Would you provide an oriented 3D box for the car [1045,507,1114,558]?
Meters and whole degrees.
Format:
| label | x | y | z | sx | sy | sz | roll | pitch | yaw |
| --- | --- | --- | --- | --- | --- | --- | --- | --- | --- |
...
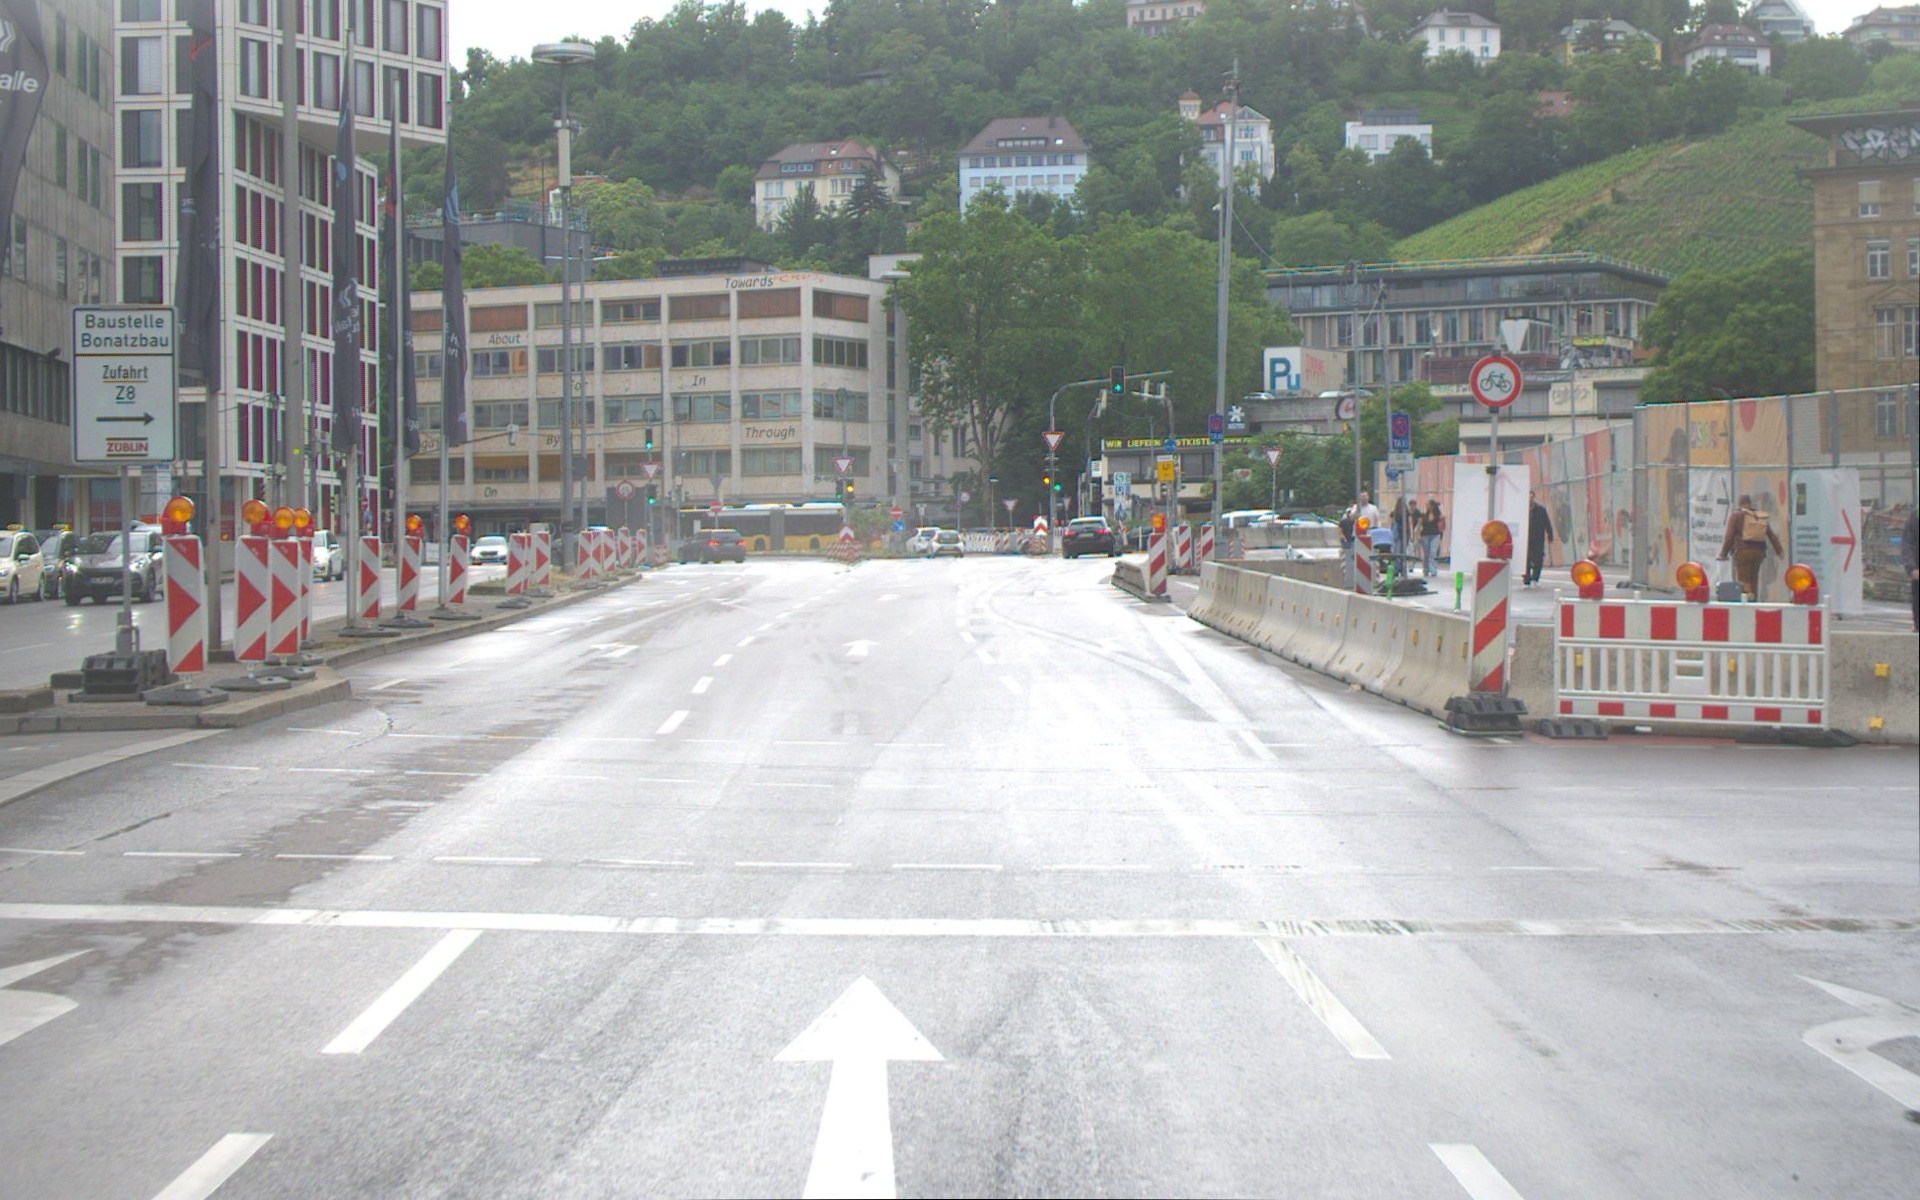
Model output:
| label | x | y | z | sx | sy | sz | roll | pitch | yaw |
| --- | --- | --- | --- | --- | --- | --- | --- | --- | --- |
| car | 4.099 | -2.315 | 118.413 | 1.993 | 1.700 | 4.001 | -1 | 1 | -3 |

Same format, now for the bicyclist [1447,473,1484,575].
| label | x | y | z | sx | sy | sz | roll | pitch | yaw |
| --- | --- | --- | --- | --- | --- | --- | --- | --- | --- |
| bicyclist | 10.050 | -1.514 | 68.381 | 0.642 | 2.007 | 0.656 | -1 | 1 | 2 |

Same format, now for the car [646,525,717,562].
| label | x | y | z | sx | sy | sz | roll | pitch | yaw |
| --- | --- | --- | --- | --- | --- | --- | --- | --- | --- |
| car | -13.709 | -2.791 | 169.039 | 1.776 | 1.633 | 4.000 | -5 | 2 | -31 |

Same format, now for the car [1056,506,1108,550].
| label | x | y | z | sx | sy | sz | roll | pitch | yaw |
| --- | --- | --- | --- | --- | --- | --- | --- | --- | --- |
| car | 4.686 | -2.800 | 132.619 | 1.776 | 1.633 | 4.001 | -1 | 2 | -1 |

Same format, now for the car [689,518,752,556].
| label | x | y | z | sx | sy | sz | roll | pitch | yaw |
| --- | --- | --- | --- | --- | --- | --- | --- | --- | --- |
| car | -10.030 | -2.631 | 143.833 | 1.993 | 1.546 | 4.001 | -1 | 1 | -13 |

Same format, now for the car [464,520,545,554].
| label | x | y | z | sx | sy | sz | roll | pitch | yaw |
| --- | --- | --- | --- | --- | --- | --- | --- | --- | --- |
| car | -23.131 | -3.208 | 174.662 | 1.997 | 1.590 | 3.994 | -1 | 2 | 31 |

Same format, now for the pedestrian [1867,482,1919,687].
| label | x | y | z | sx | sy | sz | roll | pitch | yaw |
| --- | --- | --- | --- | --- | --- | --- | --- | --- | --- |
| pedestrian | 8.849 | -0.151 | 31.265 | 0.948 | 1.835 | 0.945 | 0 | 1 | 28 |

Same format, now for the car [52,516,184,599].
| label | x | y | z | sx | sy | sz | roll | pitch | yaw |
| --- | --- | --- | --- | --- | --- | --- | --- | --- | --- |
| car | -18.480 | -0.956 | 75.574 | 1.993 | 1.744 | 4.001 | -1 | 1 | -2 |

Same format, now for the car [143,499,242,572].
| label | x | y | z | sx | sy | sz | roll | pitch | yaw |
| --- | --- | --- | --- | --- | --- | --- | --- | --- | --- |
| car | -21.958 | -1.858 | 98.498 | 1.993 | 2.007 | 4.001 | -1 | 1 | -2 |

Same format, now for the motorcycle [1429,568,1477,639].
| label | x | y | z | sx | sy | sz | roll | pitch | yaw |
| --- | --- | --- | --- | --- | --- | --- | --- | --- | --- |
| motorcycle | 5.283 | 0.036 | 36.862 | 0.371 | 0.719 | 0.922 | 1 | 2 | 0 |

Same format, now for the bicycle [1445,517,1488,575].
| label | x | y | z | sx | sy | sz | roll | pitch | yaw |
| --- | --- | --- | --- | --- | --- | --- | --- | --- | --- |
| bicycle | 10.058 | -1.076 | 68.290 | 0.645 | 1.133 | 1.763 | -1 | 1 | 2 |

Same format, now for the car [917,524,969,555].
| label | x | y | z | sx | sy | sz | roll | pitch | yaw |
| --- | --- | --- | --- | --- | --- | --- | --- | --- | --- |
| car | -0.882 | -3.097 | 175.549 | 1.819 | 1.437 | 4.002 | 1 | 2 | -12 |

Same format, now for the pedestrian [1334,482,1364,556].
| label | x | y | z | sx | sy | sz | roll | pitch | yaw |
| --- | --- | --- | --- | --- | --- | --- | --- | --- | --- |
| pedestrian | 9.691 | -2.013 | 85.596 | 0.688 | 1.835 | 0.614 | -1 | 1 | 3 |

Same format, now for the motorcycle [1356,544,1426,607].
| label | x | y | z | sx | sy | sz | roll | pitch | yaw |
| --- | --- | --- | --- | --- | --- | --- | --- | --- | --- |
| motorcycle | 4.813 | -0.276 | 38.406 | 0.400 | 0.679 | 0.922 | 1 | 2 | -18 |

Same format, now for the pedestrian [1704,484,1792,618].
| label | x | y | z | sx | sy | sz | roll | pitch | yaw |
| --- | --- | --- | --- | --- | --- | --- | --- | --- | --- |
| pedestrian | 10.944 | -0.684 | 47.774 | 0.946 | 1.835 | 0.867 | -1 | 1 | -5 |

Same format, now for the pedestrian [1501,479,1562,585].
| label | x | y | z | sx | sy | sz | roll | pitch | yaw |
| --- | --- | --- | --- | --- | --- | --- | --- | --- | --- |
| pedestrian | 10.002 | -1.191 | 60.179 | 0.946 | 1.835 | 0.867 | -1 | 1 | 4 |

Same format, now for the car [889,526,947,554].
| label | x | y | z | sx | sy | sz | roll | pitch | yaw |
| --- | --- | --- | --- | --- | --- | --- | --- | --- | --- |
| car | -2.339 | -3.331 | 189.443 | 1.993 | 1.437 | 4.002 | 1 | 2 | -20 |

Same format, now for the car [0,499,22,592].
| label | x | y | z | sx | sy | sz | roll | pitch | yaw |
| --- | --- | --- | --- | --- | --- | --- | --- | --- | --- |
| car | -21.627 | -1.155 | 73.757 | 1.993 | 2.007 | 4.001 | -1 | 1 | -2 |

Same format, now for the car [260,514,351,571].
| label | x | y | z | sx | sy | sz | roll | pitch | yaw |
| --- | --- | --- | --- | --- | --- | --- | --- | --- | --- |
| car | -19.201 | -1.702 | 101.028 | 1.993 | 1.612 | 4.001 | -1 | 1 | -2 |

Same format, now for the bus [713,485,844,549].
| label | x | y | z | sx | sy | sz | roll | pitch | yaw |
| --- | --- | --- | --- | --- | --- | --- | --- | --- | --- |
| bus | -10.975 | -4.984 | 207.279 | 2.694 | 3.747 | 9.322 | -2 | 2 | -41 |

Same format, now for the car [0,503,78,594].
| label | x | y | z | sx | sy | sz | roll | pitch | yaw |
| --- | --- | --- | --- | --- | --- | --- | --- | --- | --- |
| car | -21.698 | -1.185 | 78.612 | 1.993 | 2.007 | 4.417 | -1 | 1 | -2 |

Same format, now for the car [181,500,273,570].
| label | x | y | z | sx | sy | sz | roll | pitch | yaw |
| --- | --- | --- | --- | --- | --- | --- | --- | --- | --- |
| car | -22.062 | -1.981 | 103.582 | 1.993 | 2.006 | 4.001 | -2 | 2 | -2 |

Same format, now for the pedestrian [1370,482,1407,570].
| label | x | y | z | sx | sy | sz | roll | pitch | yaw |
| --- | --- | --- | --- | --- | --- | --- | --- | --- | --- |
| pedestrian | 8.961 | -1.551 | 71.906 | 0.688 | 1.835 | 0.614 | -1 | 1 | 3 |

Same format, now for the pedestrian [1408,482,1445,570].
| label | x | y | z | sx | sy | sz | roll | pitch | yaw |
| --- | --- | --- | --- | --- | --- | --- | --- | --- | --- |
| pedestrian | 9.752 | -1.543 | 71.837 | 0.688 | 1.835 | 0.614 | -1 | 1 | 3 |

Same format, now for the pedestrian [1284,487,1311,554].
| label | x | y | z | sx | sy | sz | roll | pitch | yaw |
| --- | --- | --- | --- | --- | --- | --- | --- | --- | --- |
| pedestrian | 9.313 | -2.190 | 94.847 | 0.688 | 1.835 | 0.614 | -1 | 1 | 3 |
